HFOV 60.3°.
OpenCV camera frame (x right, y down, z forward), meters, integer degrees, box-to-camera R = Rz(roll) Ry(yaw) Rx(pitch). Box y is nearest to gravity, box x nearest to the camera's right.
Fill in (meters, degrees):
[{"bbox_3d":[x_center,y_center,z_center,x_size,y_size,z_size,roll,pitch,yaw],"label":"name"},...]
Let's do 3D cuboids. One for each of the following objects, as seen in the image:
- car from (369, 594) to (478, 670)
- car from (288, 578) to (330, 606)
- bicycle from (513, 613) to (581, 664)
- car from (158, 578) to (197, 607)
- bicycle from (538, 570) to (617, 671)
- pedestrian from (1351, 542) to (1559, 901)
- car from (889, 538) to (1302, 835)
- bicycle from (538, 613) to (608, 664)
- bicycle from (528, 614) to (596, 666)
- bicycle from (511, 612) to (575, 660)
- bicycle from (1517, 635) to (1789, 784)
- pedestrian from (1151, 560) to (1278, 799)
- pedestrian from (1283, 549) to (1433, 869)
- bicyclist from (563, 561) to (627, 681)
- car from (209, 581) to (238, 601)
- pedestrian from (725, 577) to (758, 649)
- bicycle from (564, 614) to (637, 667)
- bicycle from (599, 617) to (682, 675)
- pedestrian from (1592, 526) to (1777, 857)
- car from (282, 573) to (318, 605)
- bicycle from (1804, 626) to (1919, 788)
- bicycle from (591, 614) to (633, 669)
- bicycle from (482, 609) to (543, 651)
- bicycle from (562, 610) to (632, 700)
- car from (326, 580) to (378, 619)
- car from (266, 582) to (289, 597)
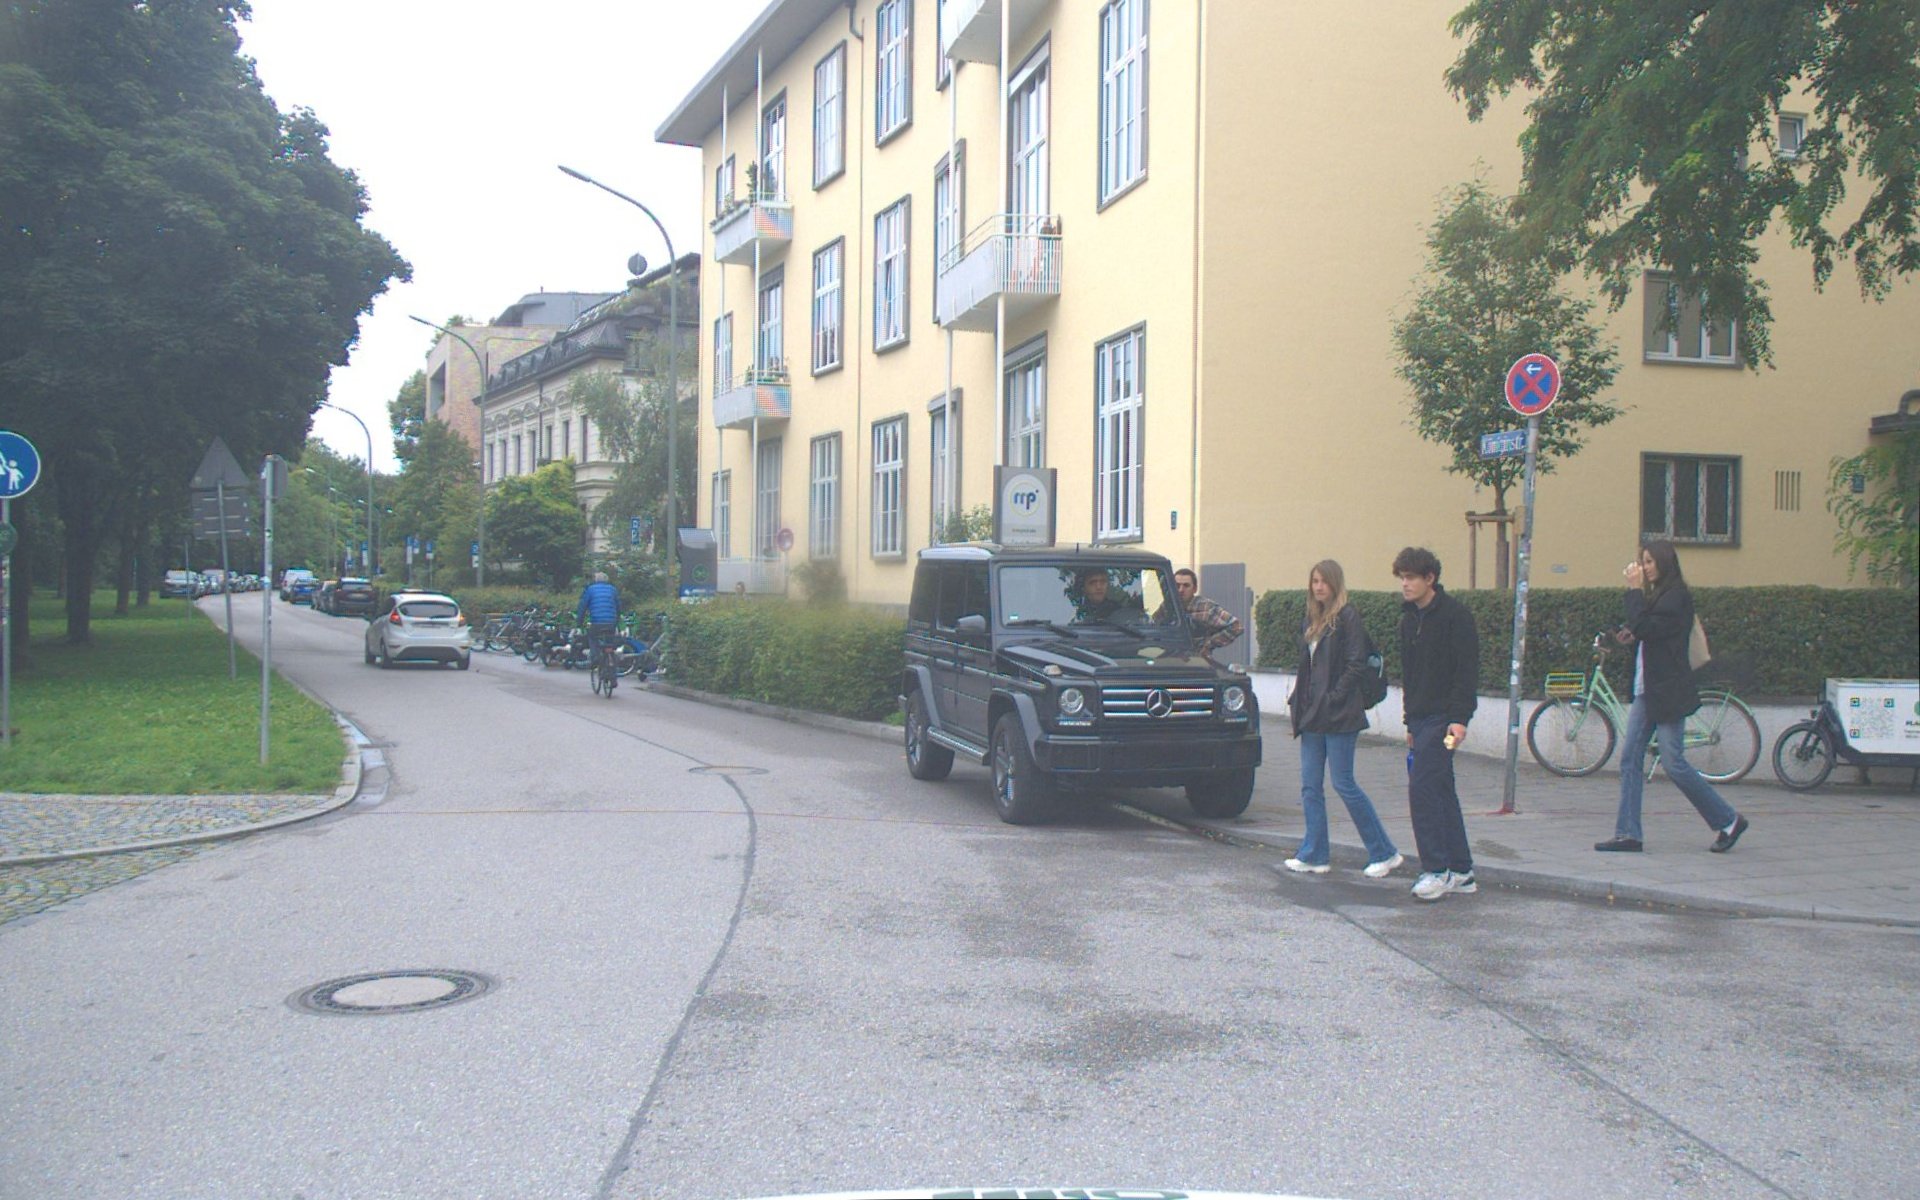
[{"bbox_3d":[-10.934,0.602,33.562,1.725,1.431,3.699,0,0,-24],"label":"car"},{"bbox_3d":[-38.617,-0.469,98.057,1.970,1.628,4.217,0,0,-27],"label":"car"},{"bbox_3d":[-8.921,0.821,35.771,0.401,1.032,1.533,0,1,34],"label":"bicycle"},{"bbox_3d":[-45.126,-0.448,95.404,1.969,1.628,4.430,0,0,-26],"label":"car"},{"bbox_3d":[-7.946,0.403,34.441,0.448,2.049,1.669,0,1,38],"label":"bicycle"},{"bbox_3d":[2.629,0.624,8.863,0.968,1.841,0.660,0,0,7],"label":"pedestrian"},{"bbox_3d":[0.831,0.537,13.152,1.842,1.920,4.600,0,0,-15],"label":"car"},{"bbox_3d":[-8.188,0.801,35.056,0.401,1.032,1.531,0,1,38],"label":"bicycle"},{"bbox_3d":[-8.524,0.846,35.477,0.401,1.032,1.533,0,1,34],"label":"bicycle"},{"bbox_3d":[-9.450,0.809,37.525,0.401,1.032,1.533,0,1,34],"label":"bicycle"},{"bbox_3d":[5.477,0.848,13.166,1.914,1.104,0.526,-2,-2,42],"label":"bicycle"},{"bbox_3d":[1.968,0.588,12.896,0.831,1.788,0.953,0,0,0],"label":"pedestrian"},{"bbox_3d":[2.297,0.598,9.621,0.809,1.776,0.741,0,0,11],"label":"pedestrian"},{"bbox_3d":[-5.607,0.310,25.375,0.899,1.795,1.210,0,0,-16],"label":"bicyclist"},{"bbox_3d":[-61.454,-0.754,138.002,1.965,1.628,4.438,0,0,-21],"label":"car"},{"bbox_3d":[-5.239,0.305,39.646,0.623,1.713,0.693,-1,0,-24],"label":"pedestrian"},{"bbox_3d":[-7.429,0.828,34.234,0.361,1.032,1.528,0,1,43],"label":"bicycle"},{"bbox_3d":[-6.073,0.868,31.476,1.515,1.032,0.364,-1,1,-28],"label":"bicycle"},{"bbox_3d":[4.309,0.531,9.901,0.832,1.890,0.767,-1,0,11],"label":"pedestrian"},{"bbox_3d":[-42.545,-0.695,106.571,2.038,2.000,4.942,0,0,-23],"label":"car"},{"bbox_3d":[7.358,0.768,11.982,2.121,1.135,0.641,0,0,15],"label":"bicycle"},{"bbox_3d":[-6.971,0.814,33.180,0.358,1.032,1.539,-1,1,6],"label":"bicycle"},{"bbox_3d":[-11.708,0.774,43.334,1.525,1.032,0.403,-1,1,-43],"label":"bicycle"},{"bbox_3d":[-5.564,0.805,25.230,0.906,1.274,2.311,0,0,-16],"label":"bicycle"},{"bbox_3d":[-27.236,-0.038,74.043,1.772,1.709,3.965,0,1,-27],"label":"car"},{"bbox_3d":[-74.288,-1.164,180.089,1.962,1.628,4.446,0,0,-17],"label":"car"}]
